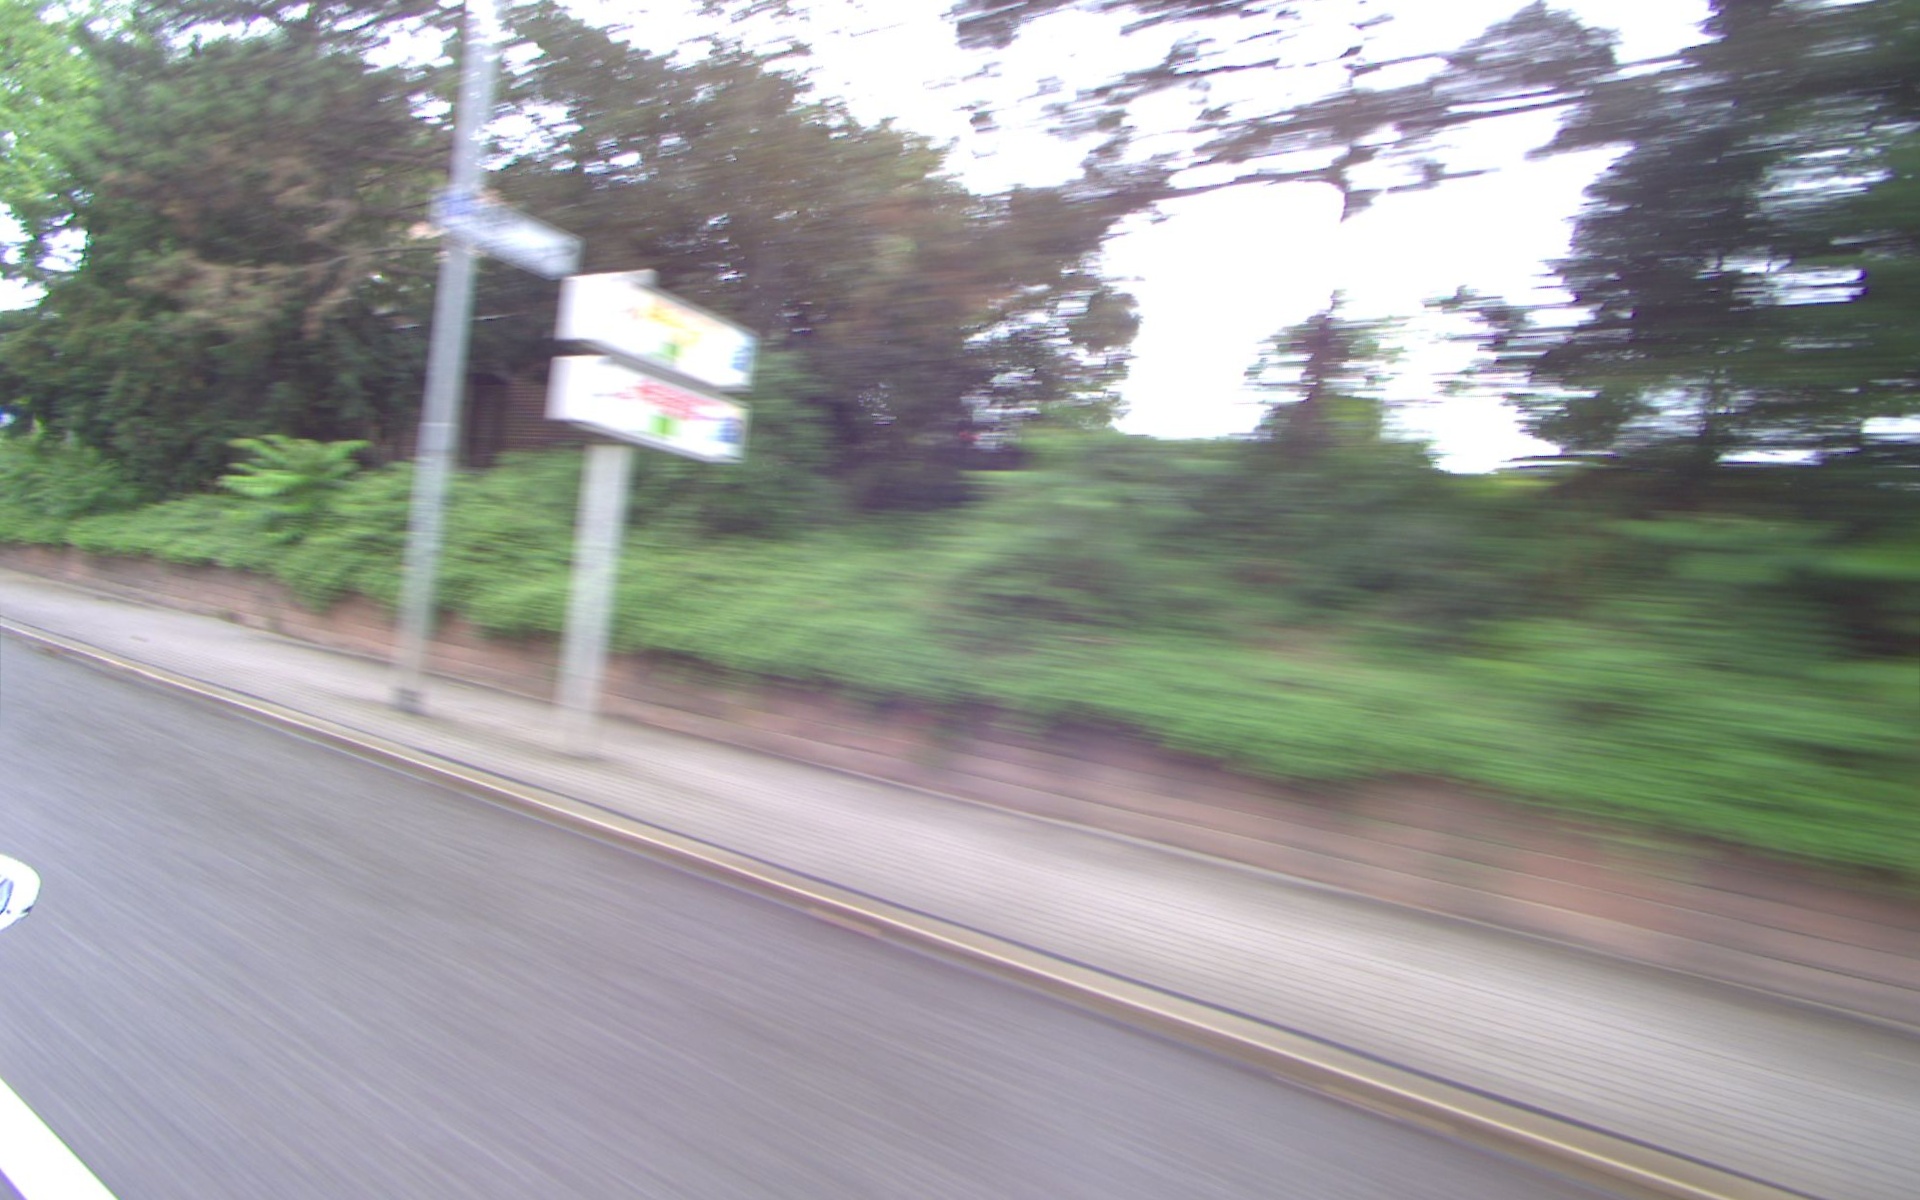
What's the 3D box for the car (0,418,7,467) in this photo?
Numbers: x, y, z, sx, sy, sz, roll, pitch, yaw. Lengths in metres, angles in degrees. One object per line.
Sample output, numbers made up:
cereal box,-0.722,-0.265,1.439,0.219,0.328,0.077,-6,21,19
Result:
car,-41.753,-6.803,41.292,1.573,2.039,3.581,7,0,39
